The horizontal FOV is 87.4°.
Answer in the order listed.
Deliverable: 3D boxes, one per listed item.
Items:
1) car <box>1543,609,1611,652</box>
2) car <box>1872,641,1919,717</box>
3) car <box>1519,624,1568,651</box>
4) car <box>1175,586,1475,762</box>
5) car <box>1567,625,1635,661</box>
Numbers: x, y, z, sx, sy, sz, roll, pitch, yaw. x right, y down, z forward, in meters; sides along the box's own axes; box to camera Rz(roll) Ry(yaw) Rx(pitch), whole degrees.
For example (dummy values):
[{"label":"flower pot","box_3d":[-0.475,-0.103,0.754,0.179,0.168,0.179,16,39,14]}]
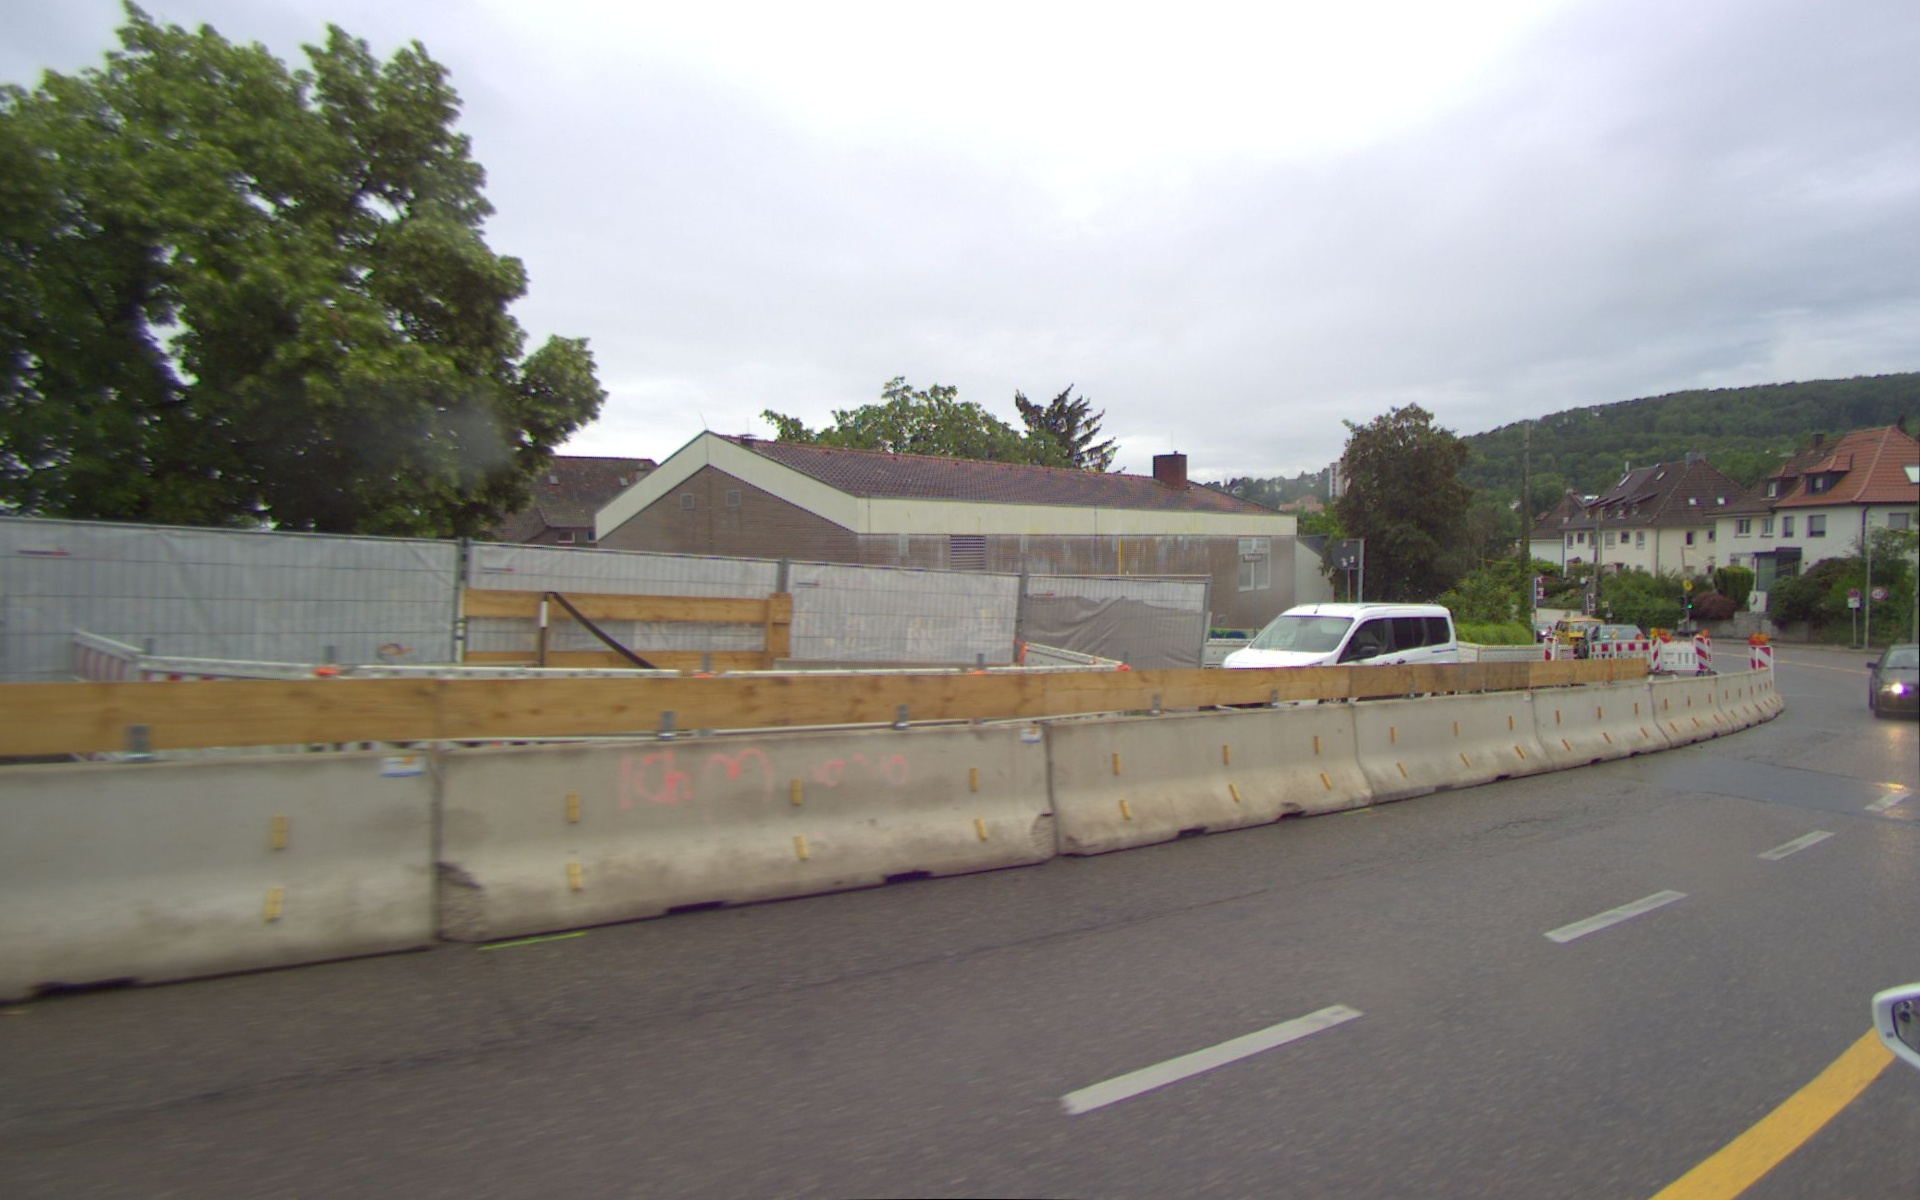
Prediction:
[{"label":"car","box_3d":[30.737,1.488,50.177,1.961,2.040,5.141,0,-1,21]},{"label":"car","box_3d":[18.259,1.452,18.841,1.630,1.328,4.240,-3,-4,43]},{"label":"car","box_3d":[33.524,2.131,57.782,1.816,1.483,3.767,0,-1,21]},{"label":"car","box_3d":[5.777,1.052,15.643,4.761,2.039,1.980,-5,-1,-37]},{"label":"car","box_3d":[28.268,1.874,44.394,1.816,1.483,3.767,0,-1,21]}]
